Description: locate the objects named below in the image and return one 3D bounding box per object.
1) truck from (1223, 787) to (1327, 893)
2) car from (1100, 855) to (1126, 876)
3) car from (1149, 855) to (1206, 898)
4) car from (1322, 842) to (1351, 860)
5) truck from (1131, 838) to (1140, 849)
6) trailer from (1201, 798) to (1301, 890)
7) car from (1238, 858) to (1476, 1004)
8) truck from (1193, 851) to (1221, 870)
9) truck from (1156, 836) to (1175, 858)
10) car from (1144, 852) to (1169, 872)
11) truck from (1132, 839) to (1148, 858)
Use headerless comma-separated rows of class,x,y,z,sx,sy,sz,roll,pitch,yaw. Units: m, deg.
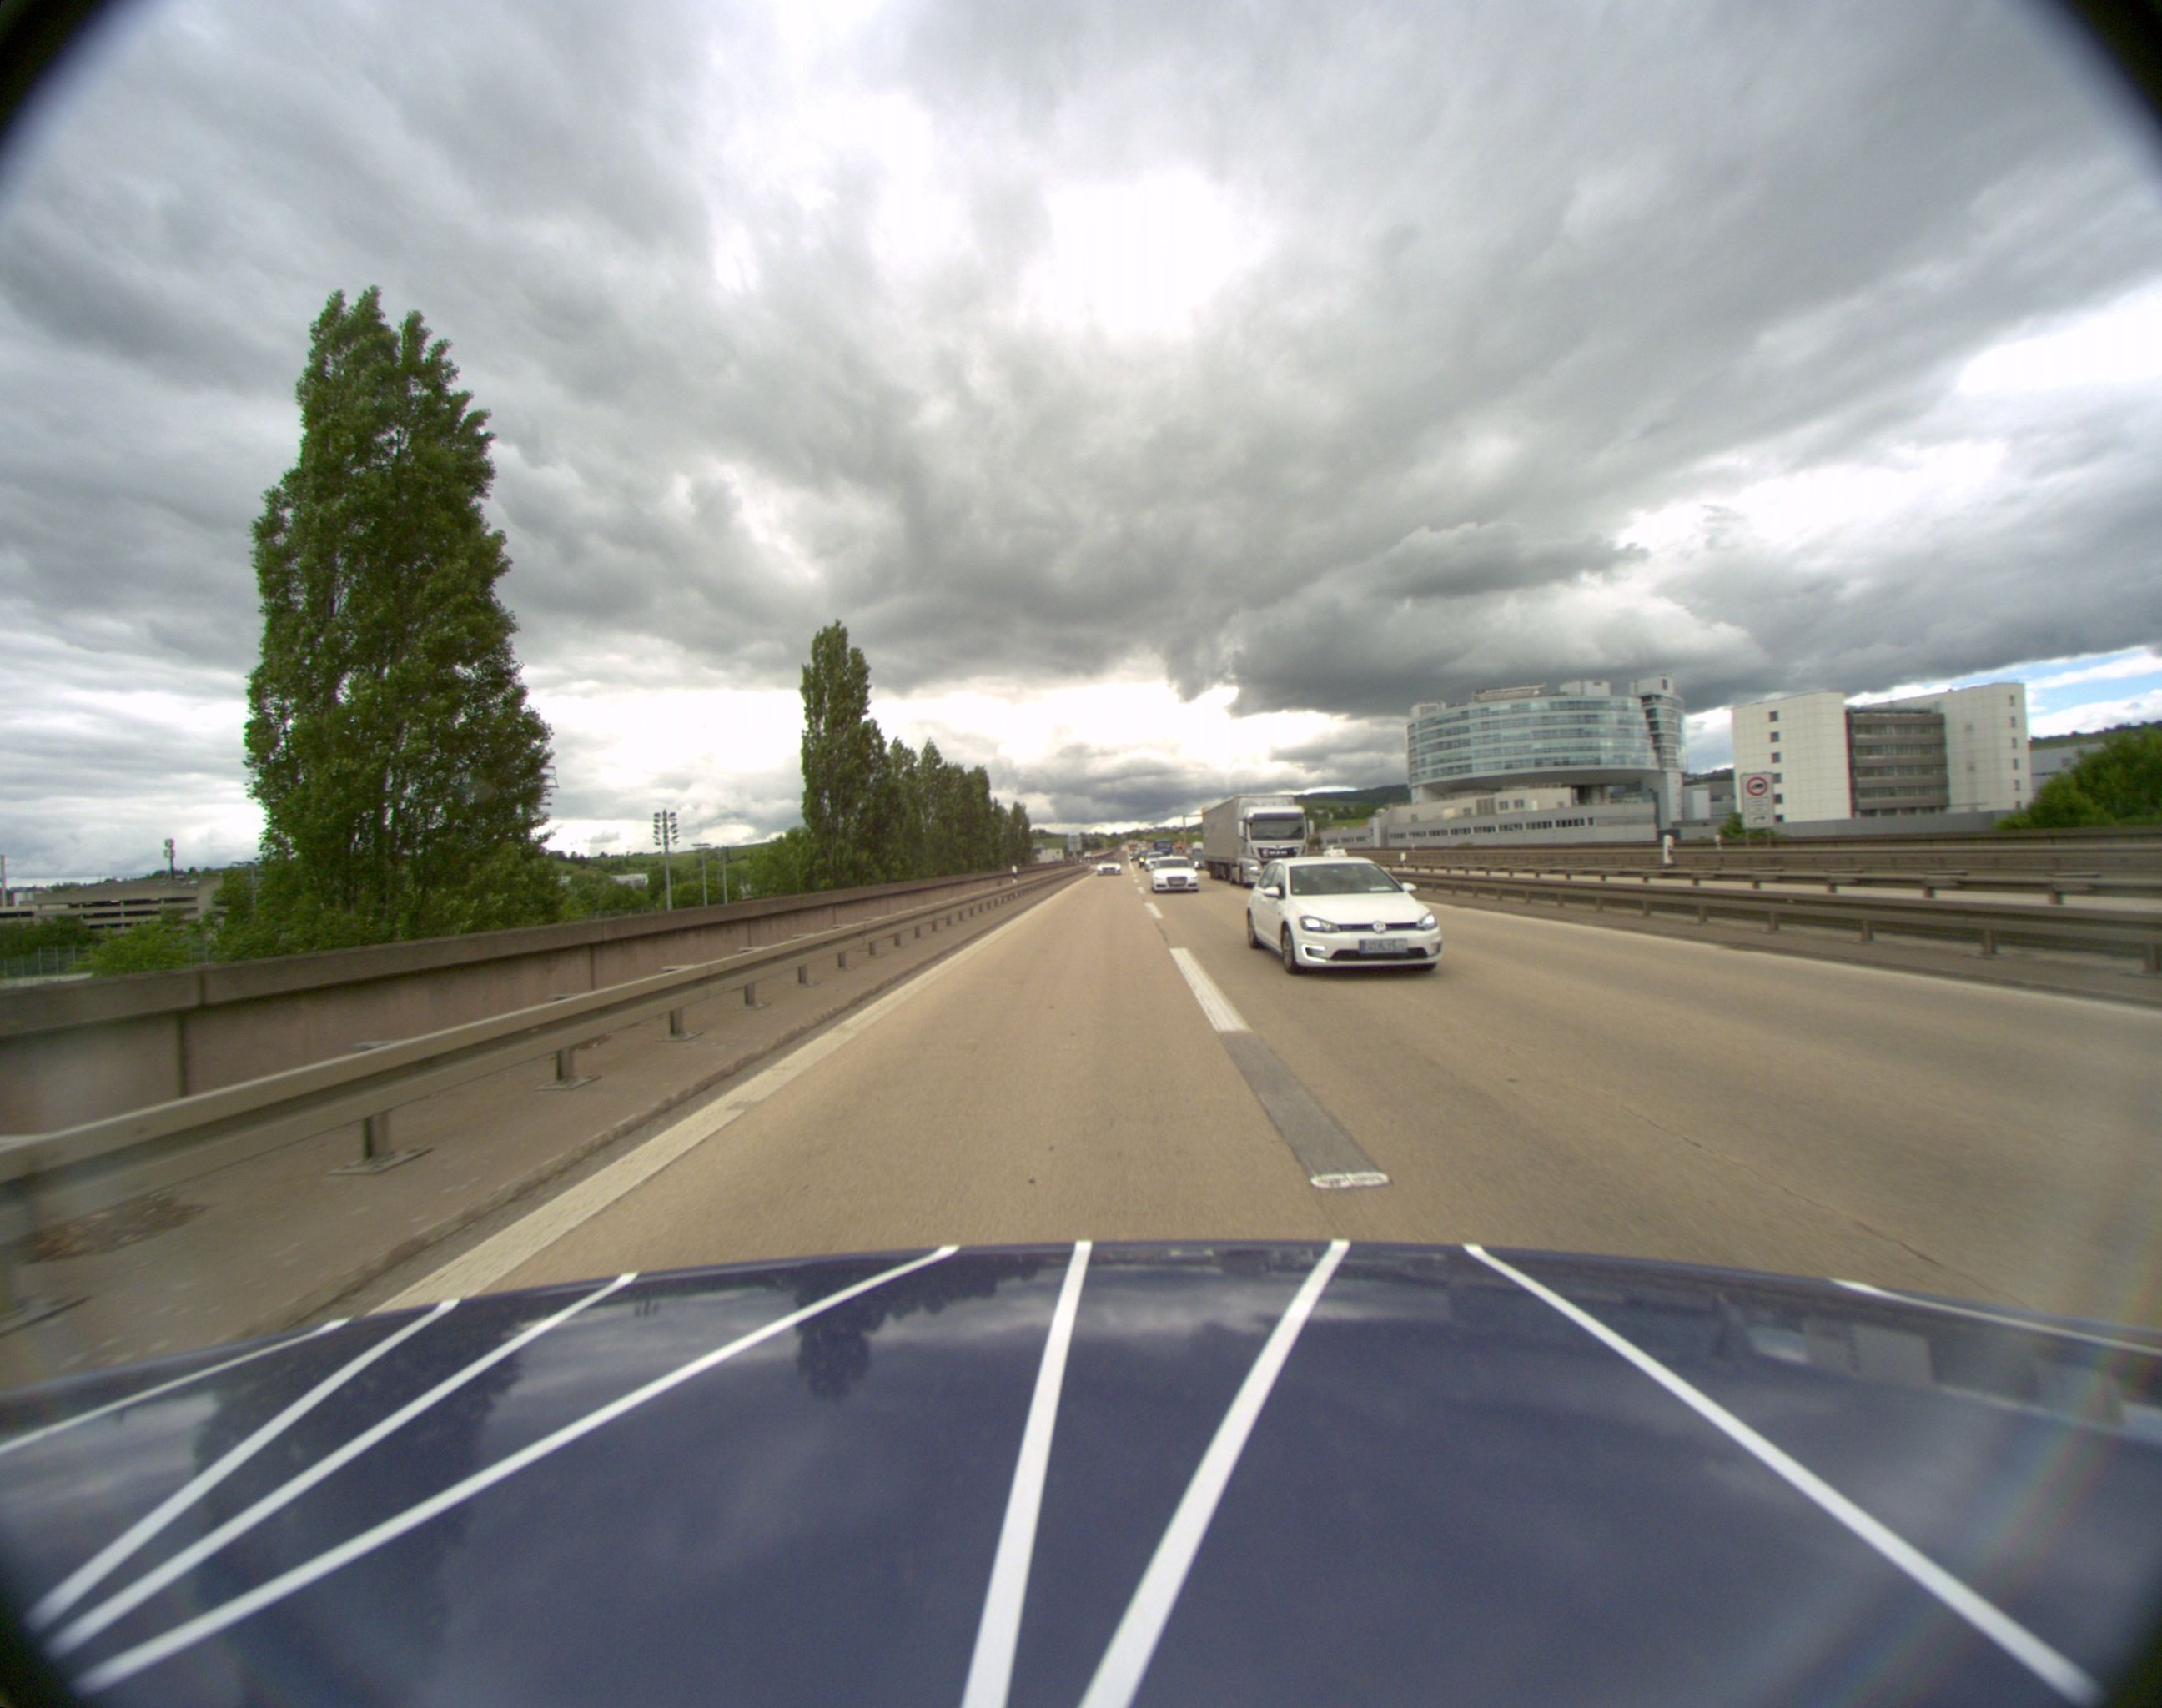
truck,8.182,-0.563,32.807,3.141,4.014,5.689,-3,1,4
car,2.545,0.879,60.659,1.930,1.499,4.062,-3,0,3
car,3.861,0.846,30.952,1.930,1.499,4.062,-3,0,3
car,25.507,-0.280,75.946,1.687,1.640,3.776,-3,0,3
truck,17.142,-3.348,240.878,2.625,3.219,6.687,-2,1,4
trailer,8.701,-0.490,40.633,3.189,4.003,11.767,-3,0,4
car,3.468,0.869,10.430,1.930,1.499,4.062,-2,0,3
truck,10.565,0.531,63.879,1.829,1.521,3.514,-2,0,3
truck,12.727,-1.039,114.683,2.336,3.219,6.687,-2,1,4
car,6.642,0.659,67.396,1.930,1.585,4.062,-3,0,3
truck,10.418,-0.909,135.480,2.625,3.219,6.687,-2,1,4
